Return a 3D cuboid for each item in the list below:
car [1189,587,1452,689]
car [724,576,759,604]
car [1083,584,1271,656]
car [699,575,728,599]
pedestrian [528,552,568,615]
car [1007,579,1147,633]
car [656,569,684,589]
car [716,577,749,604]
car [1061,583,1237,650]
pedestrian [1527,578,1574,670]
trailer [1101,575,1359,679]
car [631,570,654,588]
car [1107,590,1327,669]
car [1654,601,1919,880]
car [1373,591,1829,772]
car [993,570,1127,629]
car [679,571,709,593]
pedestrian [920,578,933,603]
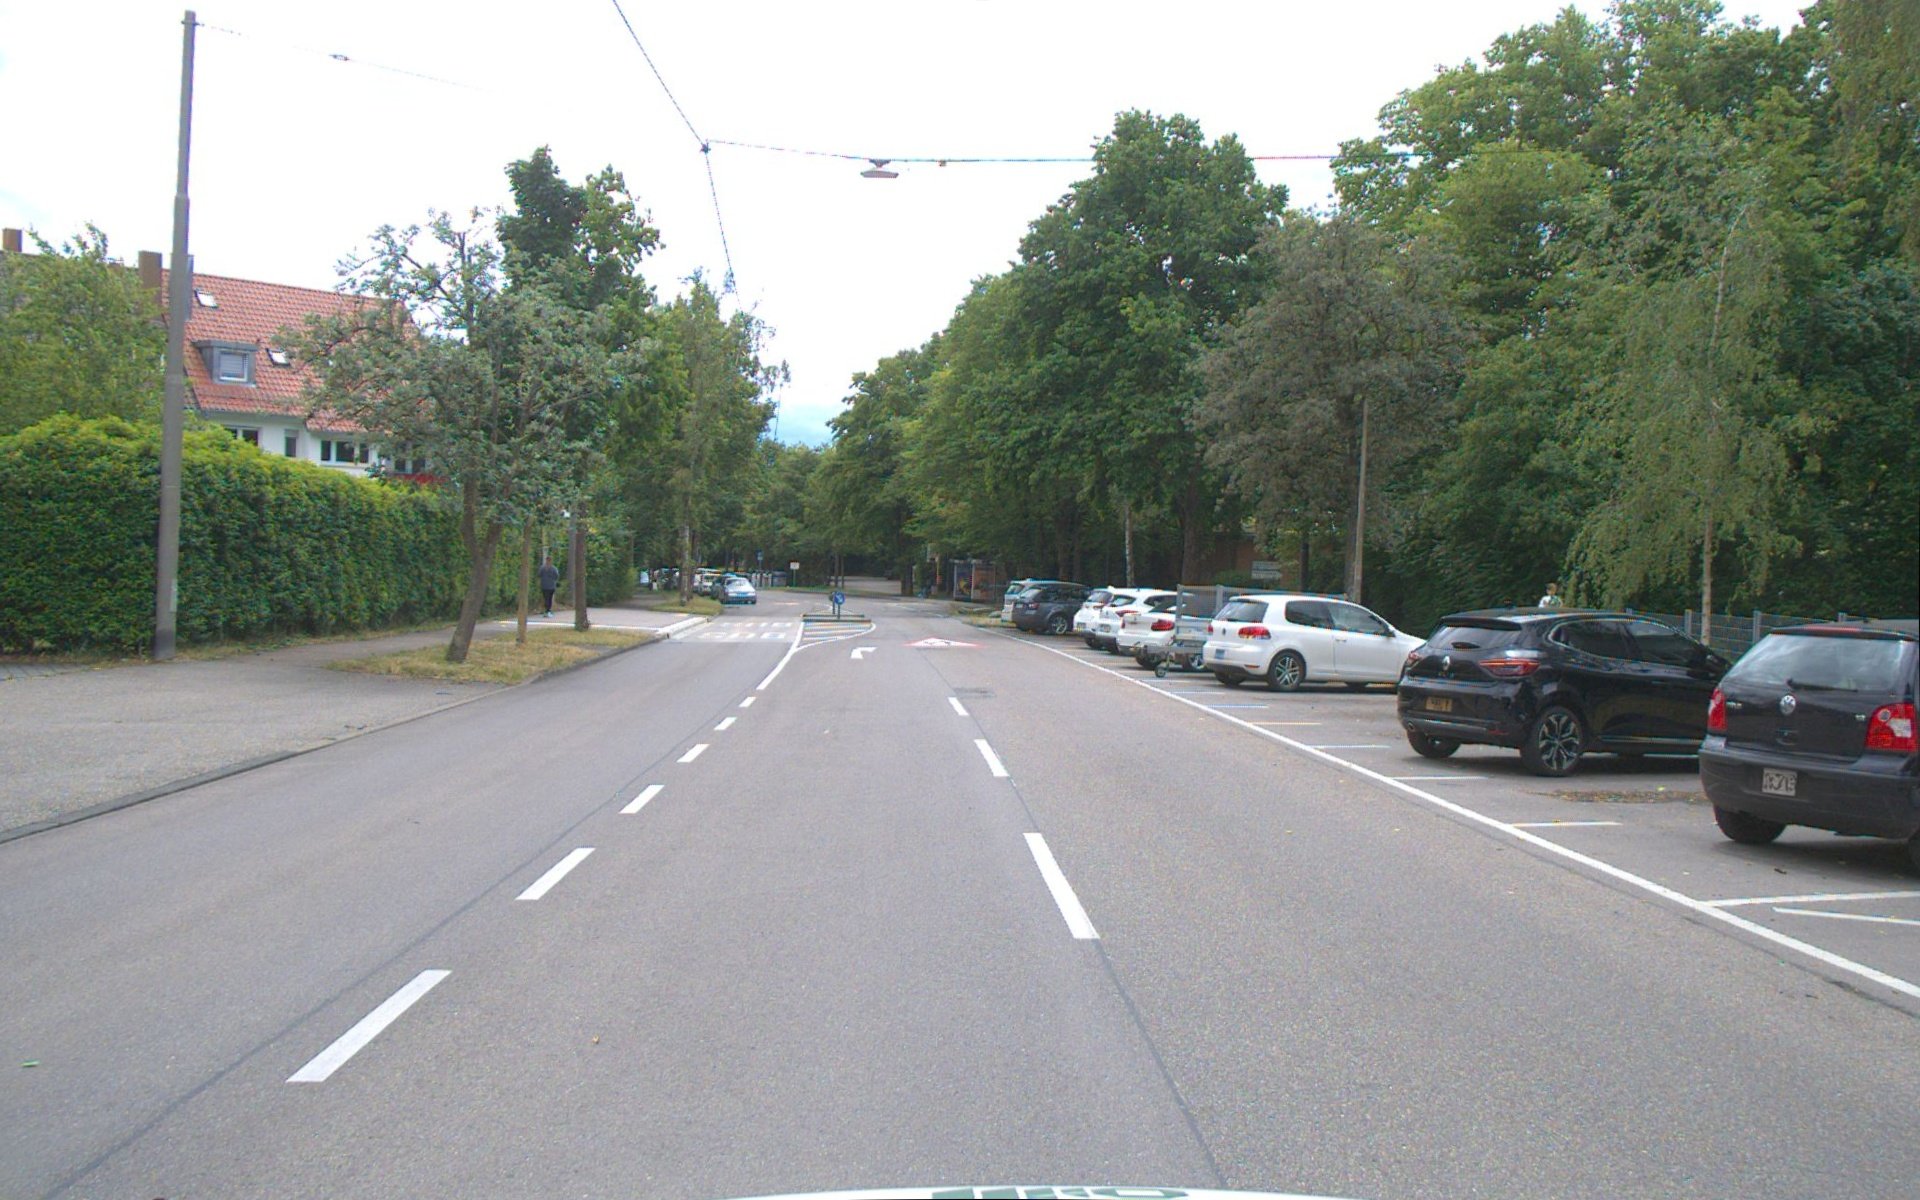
[{"bbox_3d":[5.809,0.613,26.659,3.831,1.474,1.732,2,1,-23],"label":"car"},{"bbox_3d":[-12.085,-0.561,91.477,1.832,1.496,3.993,1,1,-8],"label":"car"},{"bbox_3d":[4.888,0.453,37.289,3.828,1.454,1.733,2,1,-21],"label":"car"},{"bbox_3d":[-16.205,-0.894,108.764,1.832,1.496,3.993,1,1,-8],"label":"car"},{"bbox_3d":[-11.741,-0.460,47.155,0.955,1.760,0.848,1,1,-5],"label":"pedestrian"},{"bbox_3d":[3.514,0.182,49.832,3.828,1.454,1.733,2,1,-21],"label":"car"},{"bbox_3d":[-22.638,-1.650,129.087,1.835,1.496,3.986,1,1,-14],"label":"car"},{"bbox_3d":[-13.355,-0.582,97.011,1.832,1.496,3.993,1,1,-8],"label":"car"},{"bbox_3d":[4.557,0.390,39.856,3.828,1.454,1.733,2,1,-21],"label":"car"},{"bbox_3d":[11.051,0.442,30.967,0.636,1.700,0.744,1,0,5],"label":"pedestrian"},{"bbox_3d":[4.694,0.471,28.809,4.093,1.600,1.702,3,0,-20],"label":"trailer"},{"bbox_3d":[-27.780,-1.814,144.642,1.835,1.496,3.986,1,1,-14],"label":"car"},{"bbox_3d":[4.898,0.557,31.503,3.835,1.332,1.730,2,1,-26],"label":"car"},{"bbox_3d":[6.621,0.842,10.549,3.829,1.474,1.833,3,0,-21],"label":"car"},{"bbox_3d":[6.015,0.742,15.523,3.835,1.474,1.830,2,1,-25],"label":"car"},{"bbox_3d":[3.175,-0.013,52.611,3.828,1.697,1.733,2,1,-21],"label":"car"},{"bbox_3d":[-19.243,-1.330,119.544,1.835,1.496,3.986,1,1,-14],"label":"car"},{"bbox_3d":[-2.184,-0.607,107.356,0.725,1.597,0.652,1,0,10],"label":"pedestrian"}]
